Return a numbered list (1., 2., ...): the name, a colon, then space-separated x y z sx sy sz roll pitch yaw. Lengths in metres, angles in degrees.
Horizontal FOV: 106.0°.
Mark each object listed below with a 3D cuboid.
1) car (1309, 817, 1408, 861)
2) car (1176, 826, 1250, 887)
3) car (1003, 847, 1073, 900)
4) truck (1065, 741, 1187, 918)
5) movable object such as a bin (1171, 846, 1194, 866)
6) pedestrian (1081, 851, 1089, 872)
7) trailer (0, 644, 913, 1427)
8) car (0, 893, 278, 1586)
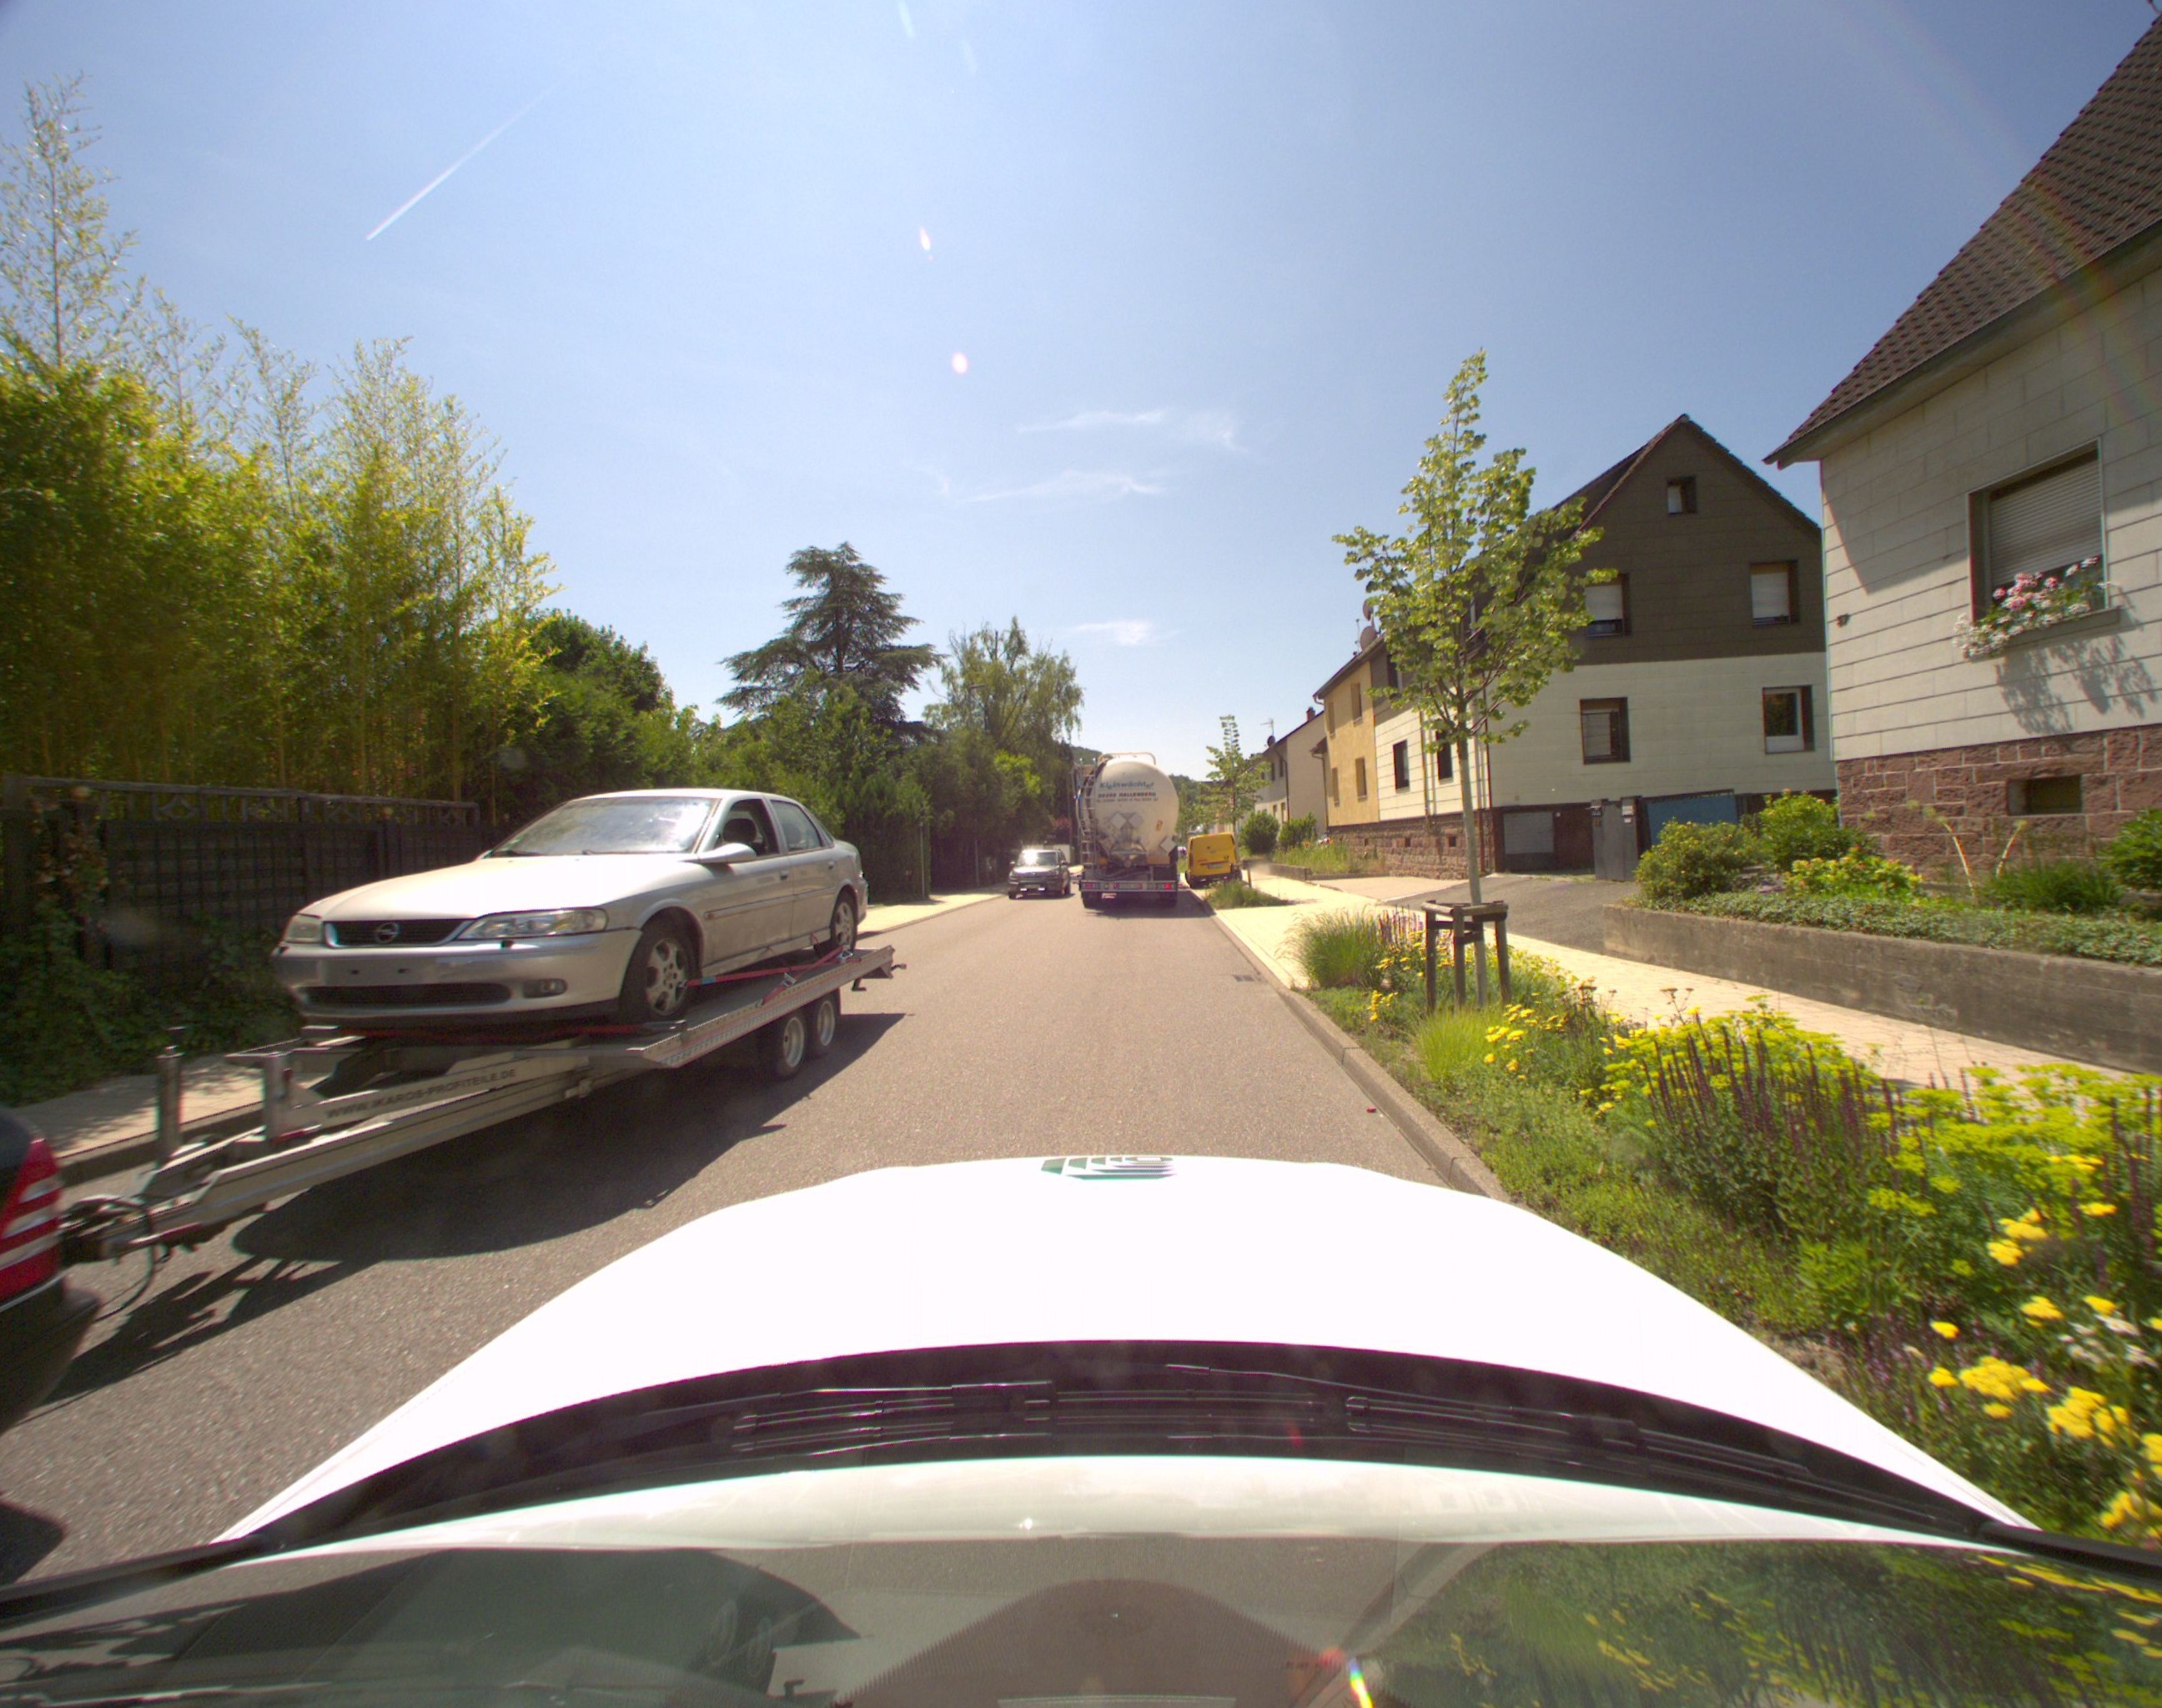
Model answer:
1. car: 13.180 -0.700 38.845 3.972 1.676 1.875 -5 0 2
2. car: 5.135 0.118 32.416 2.180 2.013 5.628 -6 -1 4
3. car: -1.400 0.609 27.953 1.859 1.652 3.954 -1 1 4
4. truck: 1.526 -0.606 24.410 2.737 4.056 10.905 -1 0 5
5. movable object such as a bin: 7.704 0.162 62.059 1.564 1.416 3.045 -3 -1 4
6. pedestrian: 0.389 0.683 78.558 0.717 2.014 0.805 -1 -1 4
7. trailer: -2.949 0.493 5.209 2.147 1.987 6.206 -1 -1 3
8. car: -3.199 0.826 0.142 1.759 1.402 4.251 -1 0 3
